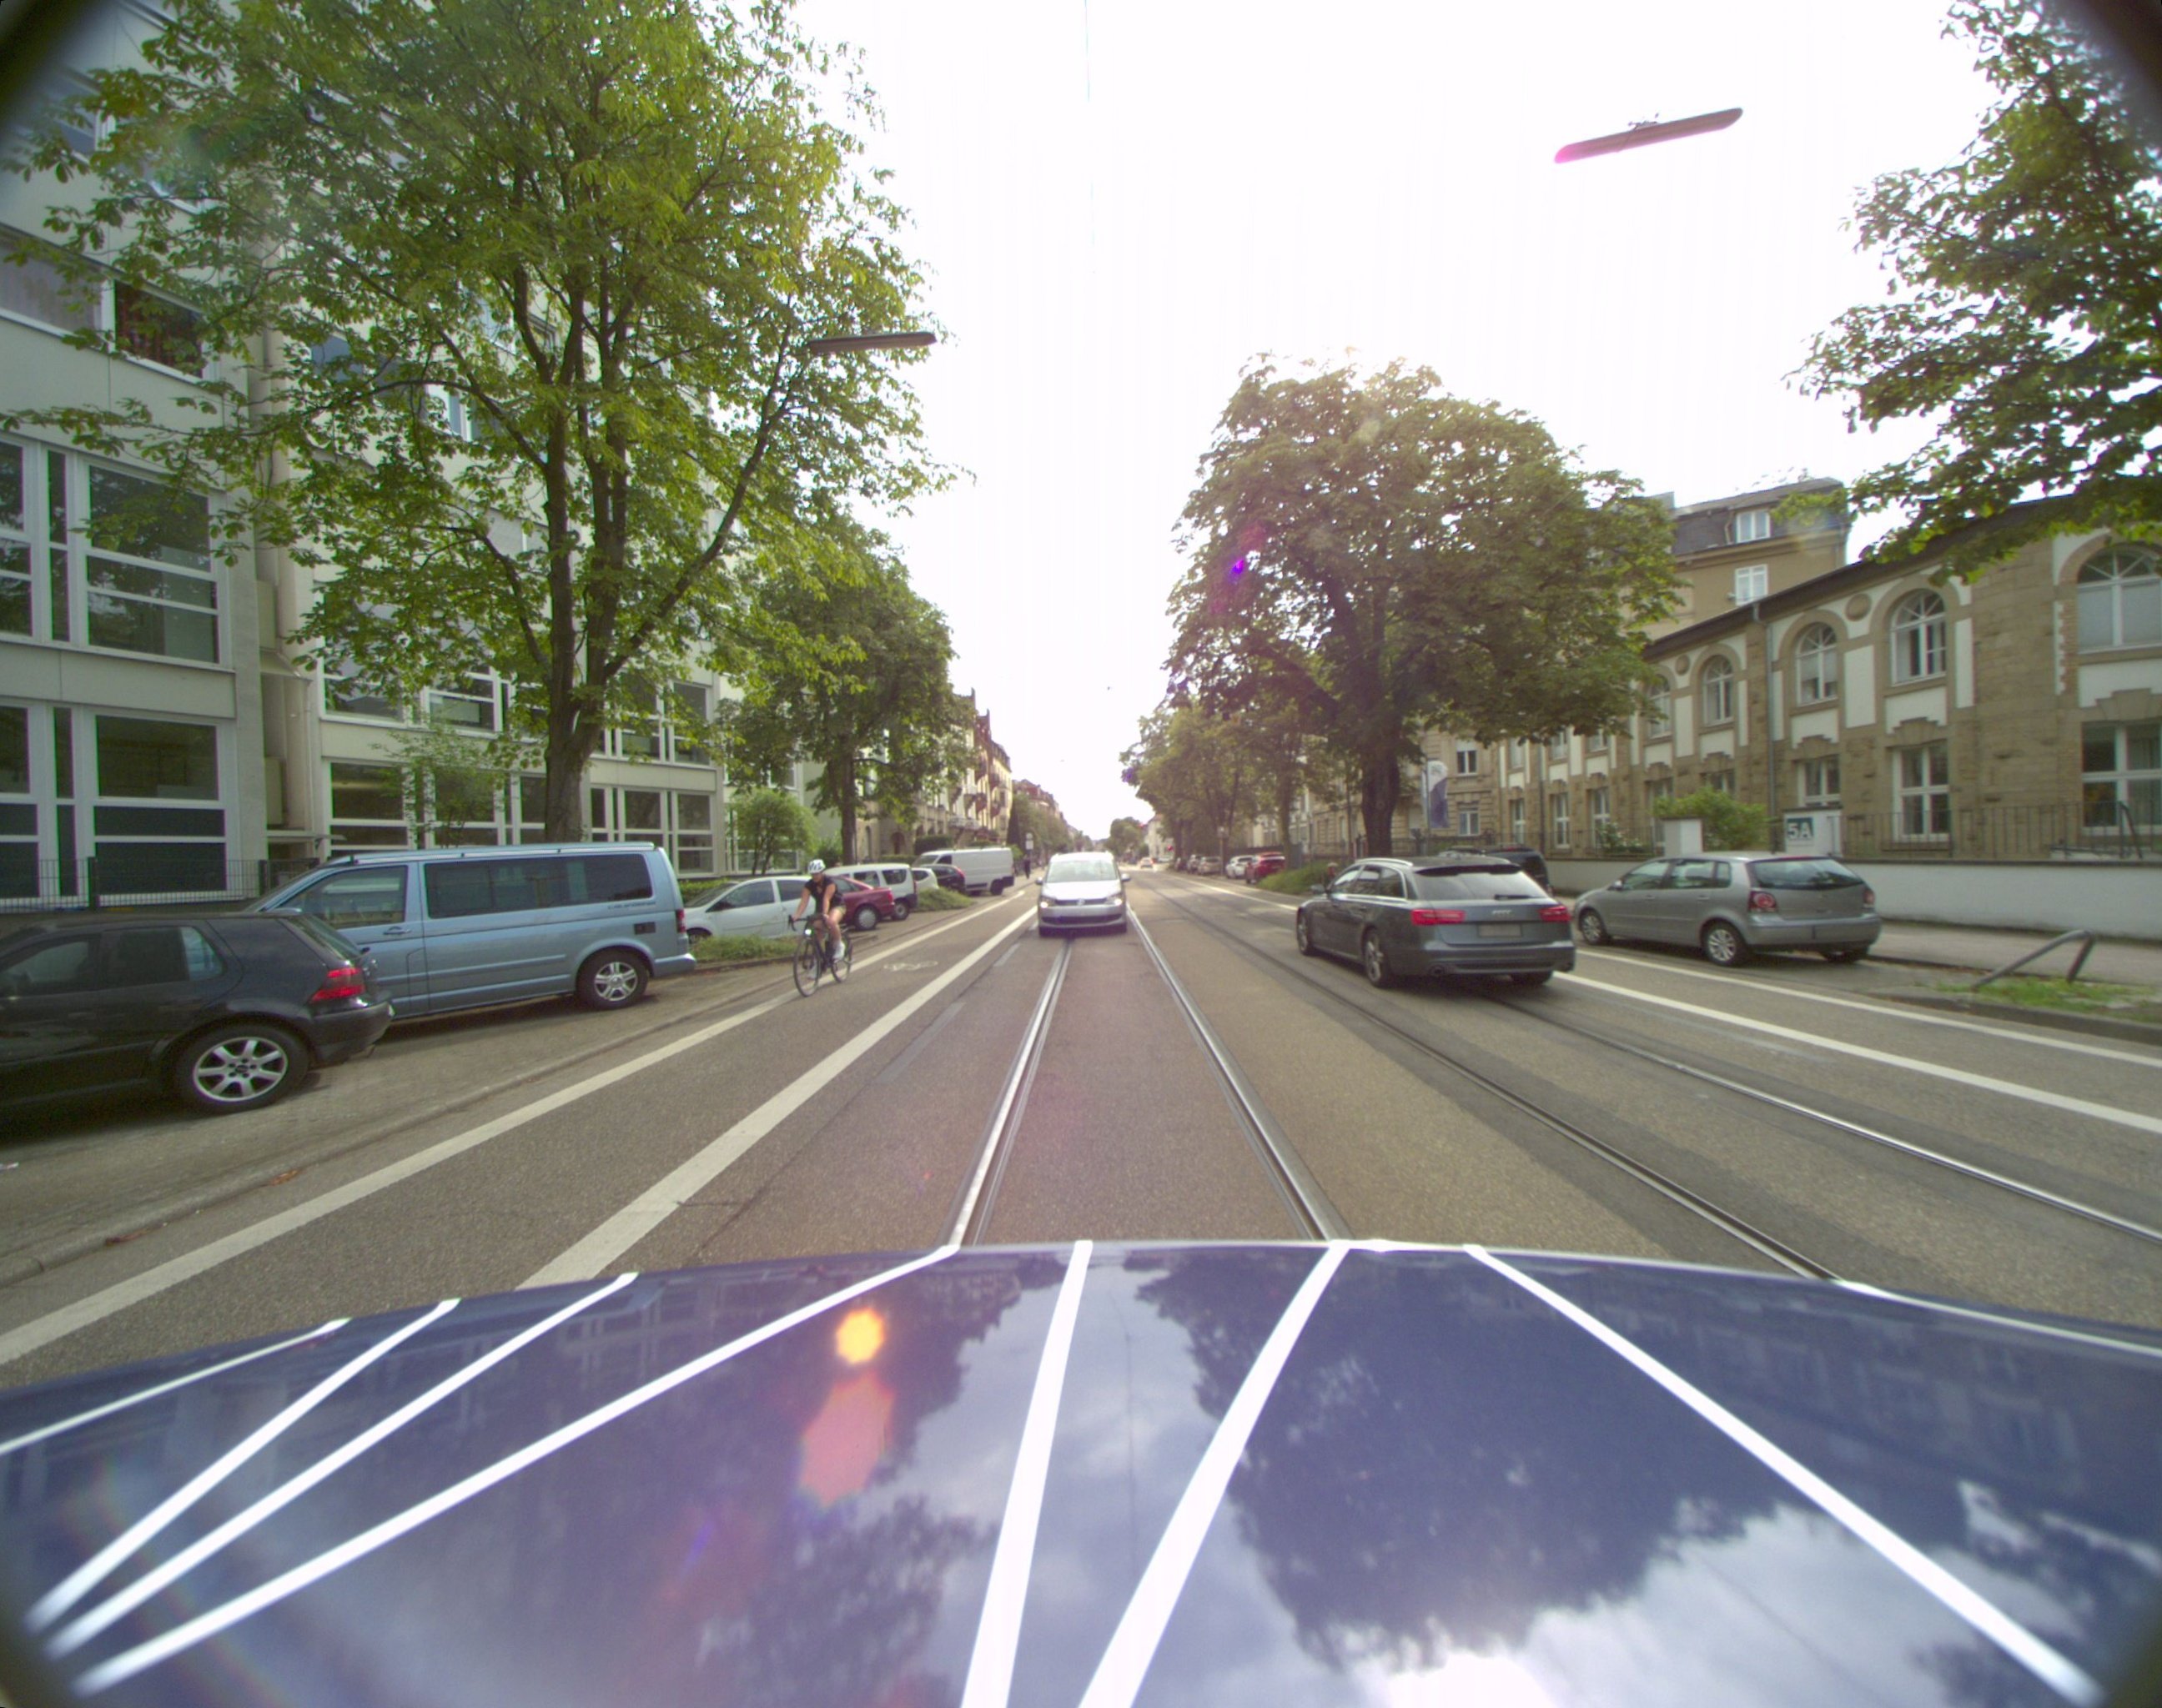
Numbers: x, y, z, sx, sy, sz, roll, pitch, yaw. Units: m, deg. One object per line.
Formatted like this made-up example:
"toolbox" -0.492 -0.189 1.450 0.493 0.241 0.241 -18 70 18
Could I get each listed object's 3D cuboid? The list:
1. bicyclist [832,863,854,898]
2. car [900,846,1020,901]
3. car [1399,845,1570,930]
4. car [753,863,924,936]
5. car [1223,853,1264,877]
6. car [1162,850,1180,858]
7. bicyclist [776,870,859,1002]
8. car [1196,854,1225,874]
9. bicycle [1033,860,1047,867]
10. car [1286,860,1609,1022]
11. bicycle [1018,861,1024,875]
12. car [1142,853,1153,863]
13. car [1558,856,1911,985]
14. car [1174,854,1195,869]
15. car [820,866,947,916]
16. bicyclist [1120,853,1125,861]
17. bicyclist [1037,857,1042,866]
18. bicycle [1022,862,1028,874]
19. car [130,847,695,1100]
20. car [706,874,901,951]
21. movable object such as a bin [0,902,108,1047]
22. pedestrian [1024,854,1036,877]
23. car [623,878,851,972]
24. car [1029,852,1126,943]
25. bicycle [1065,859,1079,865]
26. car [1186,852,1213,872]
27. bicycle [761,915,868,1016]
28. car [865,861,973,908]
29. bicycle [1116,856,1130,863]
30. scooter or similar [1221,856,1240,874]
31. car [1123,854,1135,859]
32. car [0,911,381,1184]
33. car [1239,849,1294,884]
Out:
"bicyclist" -9.952 1.104 31.742 0.649 1.461 0.801 0 0 1
"car" -5.610 0.858 35.708 4.968 2.277 2.378 -3 1 -41
"car" 9.034 0.683 17.441 1.760 1.637 4.052 -3 0 1
"car" -6.628 1.179 21.075 4.116 1.658 1.685 -3 1 -44
"car" 10.390 0.683 48.911 1.725 1.415 4.023 -4 0 0
"car" 20.149 -0.025 169.905 1.682 1.622 3.989 -2 0 -40
"bicyclist" -3.354 1.001 9.757 0.640 1.561 1.110 -2 0 -1
"car" 10.066 0.775 59.290 1.604 1.459 4.079 -2 0 1
"bicycle" -6.919 1.597 127.004 2.195 1.019 0.616 -2 0 19
"car" 4.085 0.840 9.462 1.839 1.439 4.553 -2 0 1
"bicycle" -5.262 1.223 66.710 0.392 1.135 1.921 0 0 2
"car" 9.327 0.554 106.705 1.574 1.408 4.002 0 0 5
"car" 8.865 0.783 10.834 1.697 1.419 3.868 -3 0 1
"car" 10.706 0.793 78.859 1.724 1.416 4.166 -4 0 3
"car" -7.099 1.299 27.550 4.100 1.502 1.685 -3 1 -43
"bicyclist" 6.762 0.452 124.369 0.773 1.357 0.615 -2 1 9
"bicyclist" -6.953 1.234 127.010 0.570 1.366 0.616 -2 1 20
"bicycle" -5.090 1.270 69.422 0.392 1.096 1.759 0 0 2
"car" -6.951 1.006 8.477 4.284 2.003 1.826 -3 1 -43
"car" -6.557 1.304 18.185 3.983 1.424 1.685 -3 1 -41
"movable object such as a bin" -12.170 1.345 8.392 1.072 1.499 1.323 -3 0 2
"pedestrian" -3.993 0.901 59.550 0.787 1.723 0.896 1 0 1
"car" -6.752 1.305 15.142 3.723 1.424 1.685 -3 1 -43
"car" 0.012 0.843 16.796 1.767 1.661 4.330 -3 0 2
"bicycle" -1.556 1.330 124.889 2.195 1.019 0.616 -2 0 19
"car" 10.365 0.680 66.873 1.714 1.664 4.357 -2 0 1
"bicycle" -3.338 1.363 9.739 0.640 0.975 2.071 -2 0 -1
"car" -6.605 1.216 31.274 3.968 1.639 1.685 -3 1 -43
"bicycle" 6.805 0.927 124.351 2.197 1.019 0.615 -2 0 9
"scooter or similar" 10.281 0.775 52.297 0.563 1.216 1.321 -2 0 -22
"car" 16.518 0.898 258.873 3.996 1.716 1.877 -3 0 4
"car" -7.293 1.290 4.988 1.672 1.451 3.836 -2 1 45
"car" 9.782 0.634 40.372 1.725 1.645 4.542 -4 0 0
